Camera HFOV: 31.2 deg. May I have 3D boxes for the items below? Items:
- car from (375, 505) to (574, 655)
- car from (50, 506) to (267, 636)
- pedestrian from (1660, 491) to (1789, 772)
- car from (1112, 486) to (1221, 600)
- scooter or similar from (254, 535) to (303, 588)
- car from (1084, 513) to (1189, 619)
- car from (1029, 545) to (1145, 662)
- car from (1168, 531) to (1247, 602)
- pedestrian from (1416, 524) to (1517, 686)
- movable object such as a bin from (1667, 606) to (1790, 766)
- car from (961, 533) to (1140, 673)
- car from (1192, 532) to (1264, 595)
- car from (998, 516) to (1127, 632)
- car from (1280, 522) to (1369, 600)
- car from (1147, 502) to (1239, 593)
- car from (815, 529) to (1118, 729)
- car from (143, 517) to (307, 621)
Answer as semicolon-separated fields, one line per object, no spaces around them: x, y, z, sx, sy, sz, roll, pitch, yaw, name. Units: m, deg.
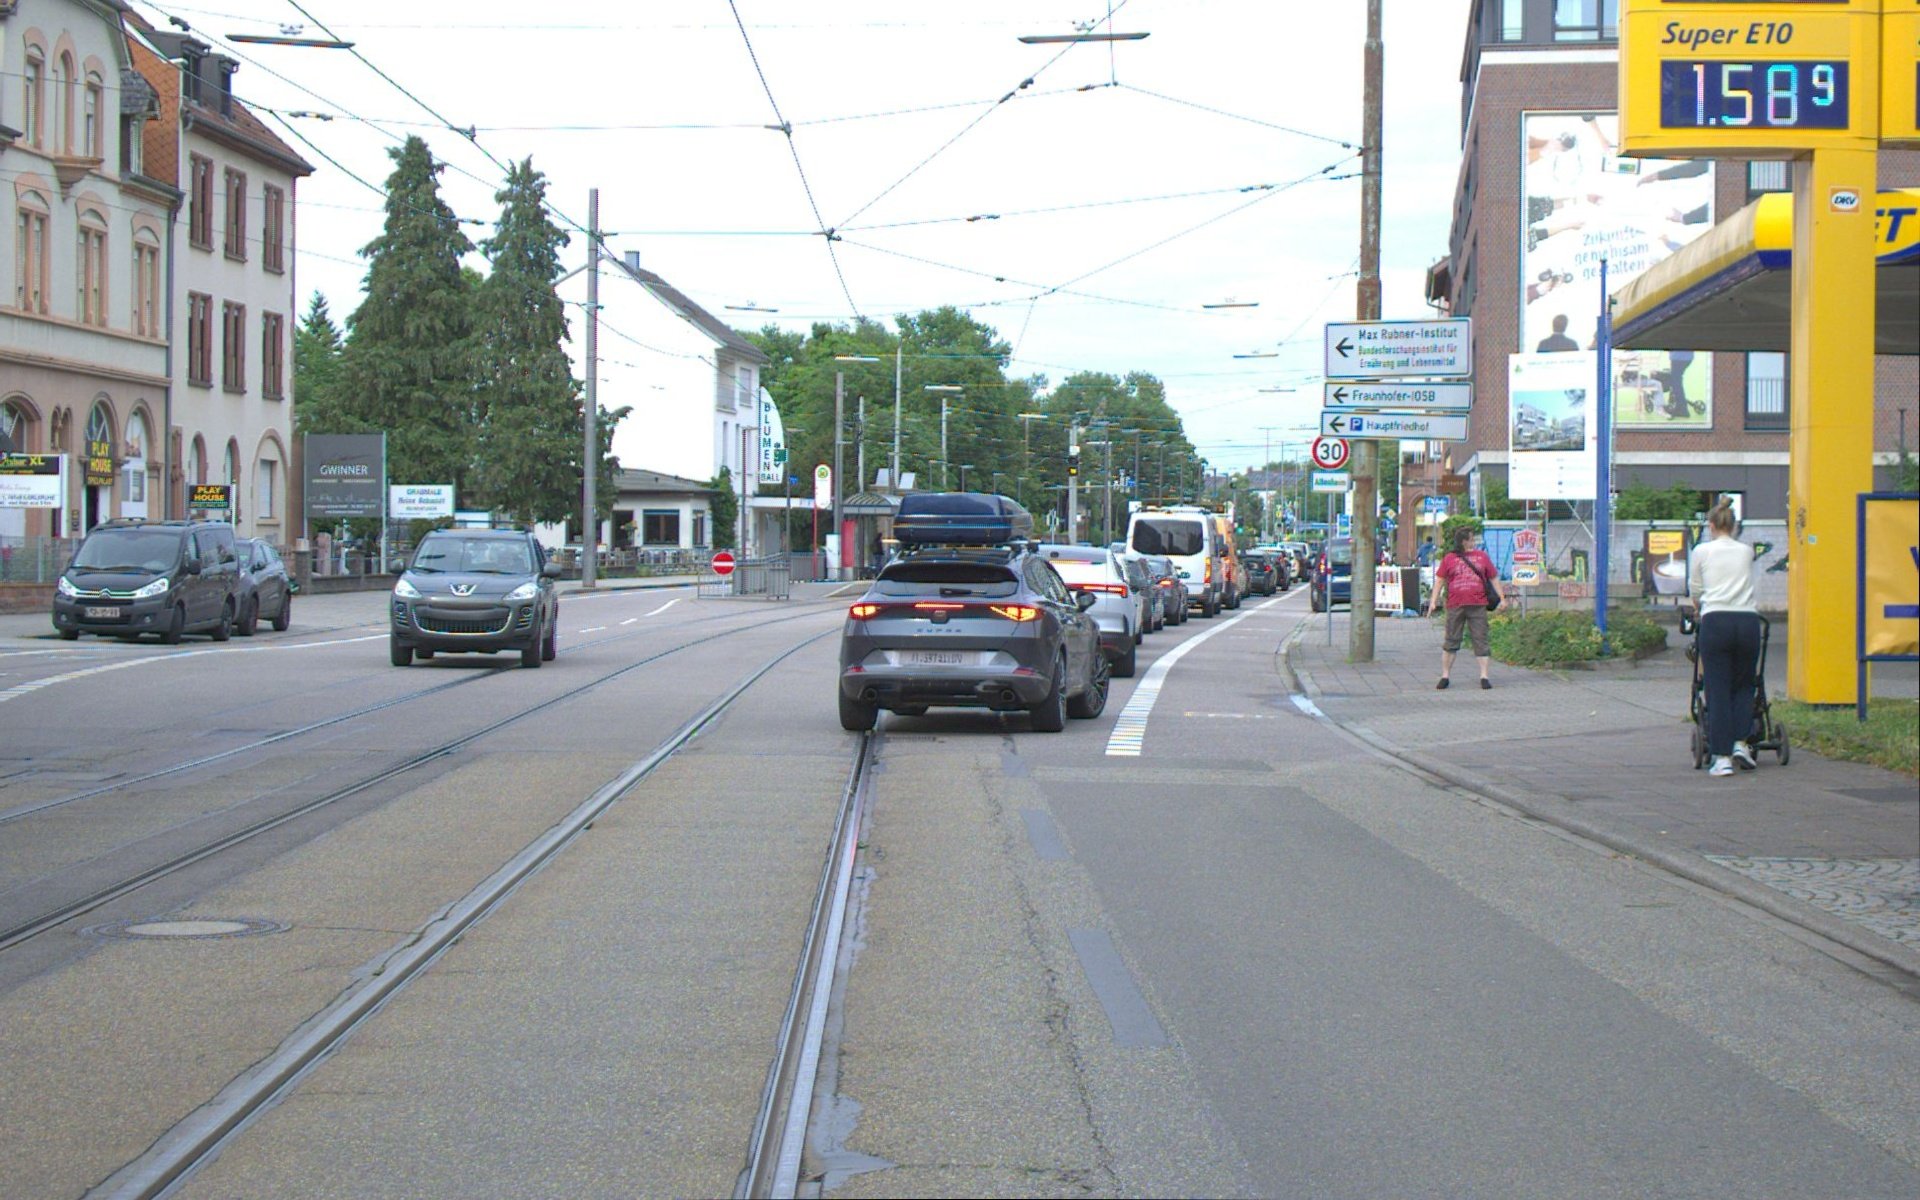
-5.905;-0.254;42.266;1.827;1.731;4.335;0;1;0;car
-12.507;-0.449;53.974;1.992;1.880;4.998;2;0;2;car
5.045;0.198;22.645;0.768;1.790;1.161;-1;0;14;pedestrian
4.613;-1.258;77.286;2.216;2.415;4.951;2;0;2;car
-15.908;-0.896;80.255;1.049;1.184;0.318;2;0;-32;scooter or similar
3.567;-0.681;69.404;1.994;2.007;4.000;2;0;3;car
2.320;0.056;63.049;1.993;2.007;4.000;2;0;2;car
7.405;-0.994;103.167;1.993;2.007;4.000;2;0;-1;car
5.556;0.050;37.735;0.972;1.732;0.861;-1;0;3;pedestrian
5.221;0.574;23.331;0.768;1.035;1.023;-1;0;14;movable object such as a bin
1.043;-0.005;41.788;1.981;1.544;4.183;2;1;0;car
8.958;-1.205;115.202;1.993;2.007;4.000;2;0;-1;car
1.640;-0.421;55.851;1.969;1.750;3.838;2;0;1;car
9.024;-0.961;85.349;1.874;1.817;4.096;2;0;3;car
5.826;-1.304;86.477;2.139;2.138;4.743;2;0;3;car
0.145;0.214;29.083;1.990;1.492;4.325;2;0;7;car
-12.876;-0.544;60.439;1.844;1.712;4.193;2;0;1;car
